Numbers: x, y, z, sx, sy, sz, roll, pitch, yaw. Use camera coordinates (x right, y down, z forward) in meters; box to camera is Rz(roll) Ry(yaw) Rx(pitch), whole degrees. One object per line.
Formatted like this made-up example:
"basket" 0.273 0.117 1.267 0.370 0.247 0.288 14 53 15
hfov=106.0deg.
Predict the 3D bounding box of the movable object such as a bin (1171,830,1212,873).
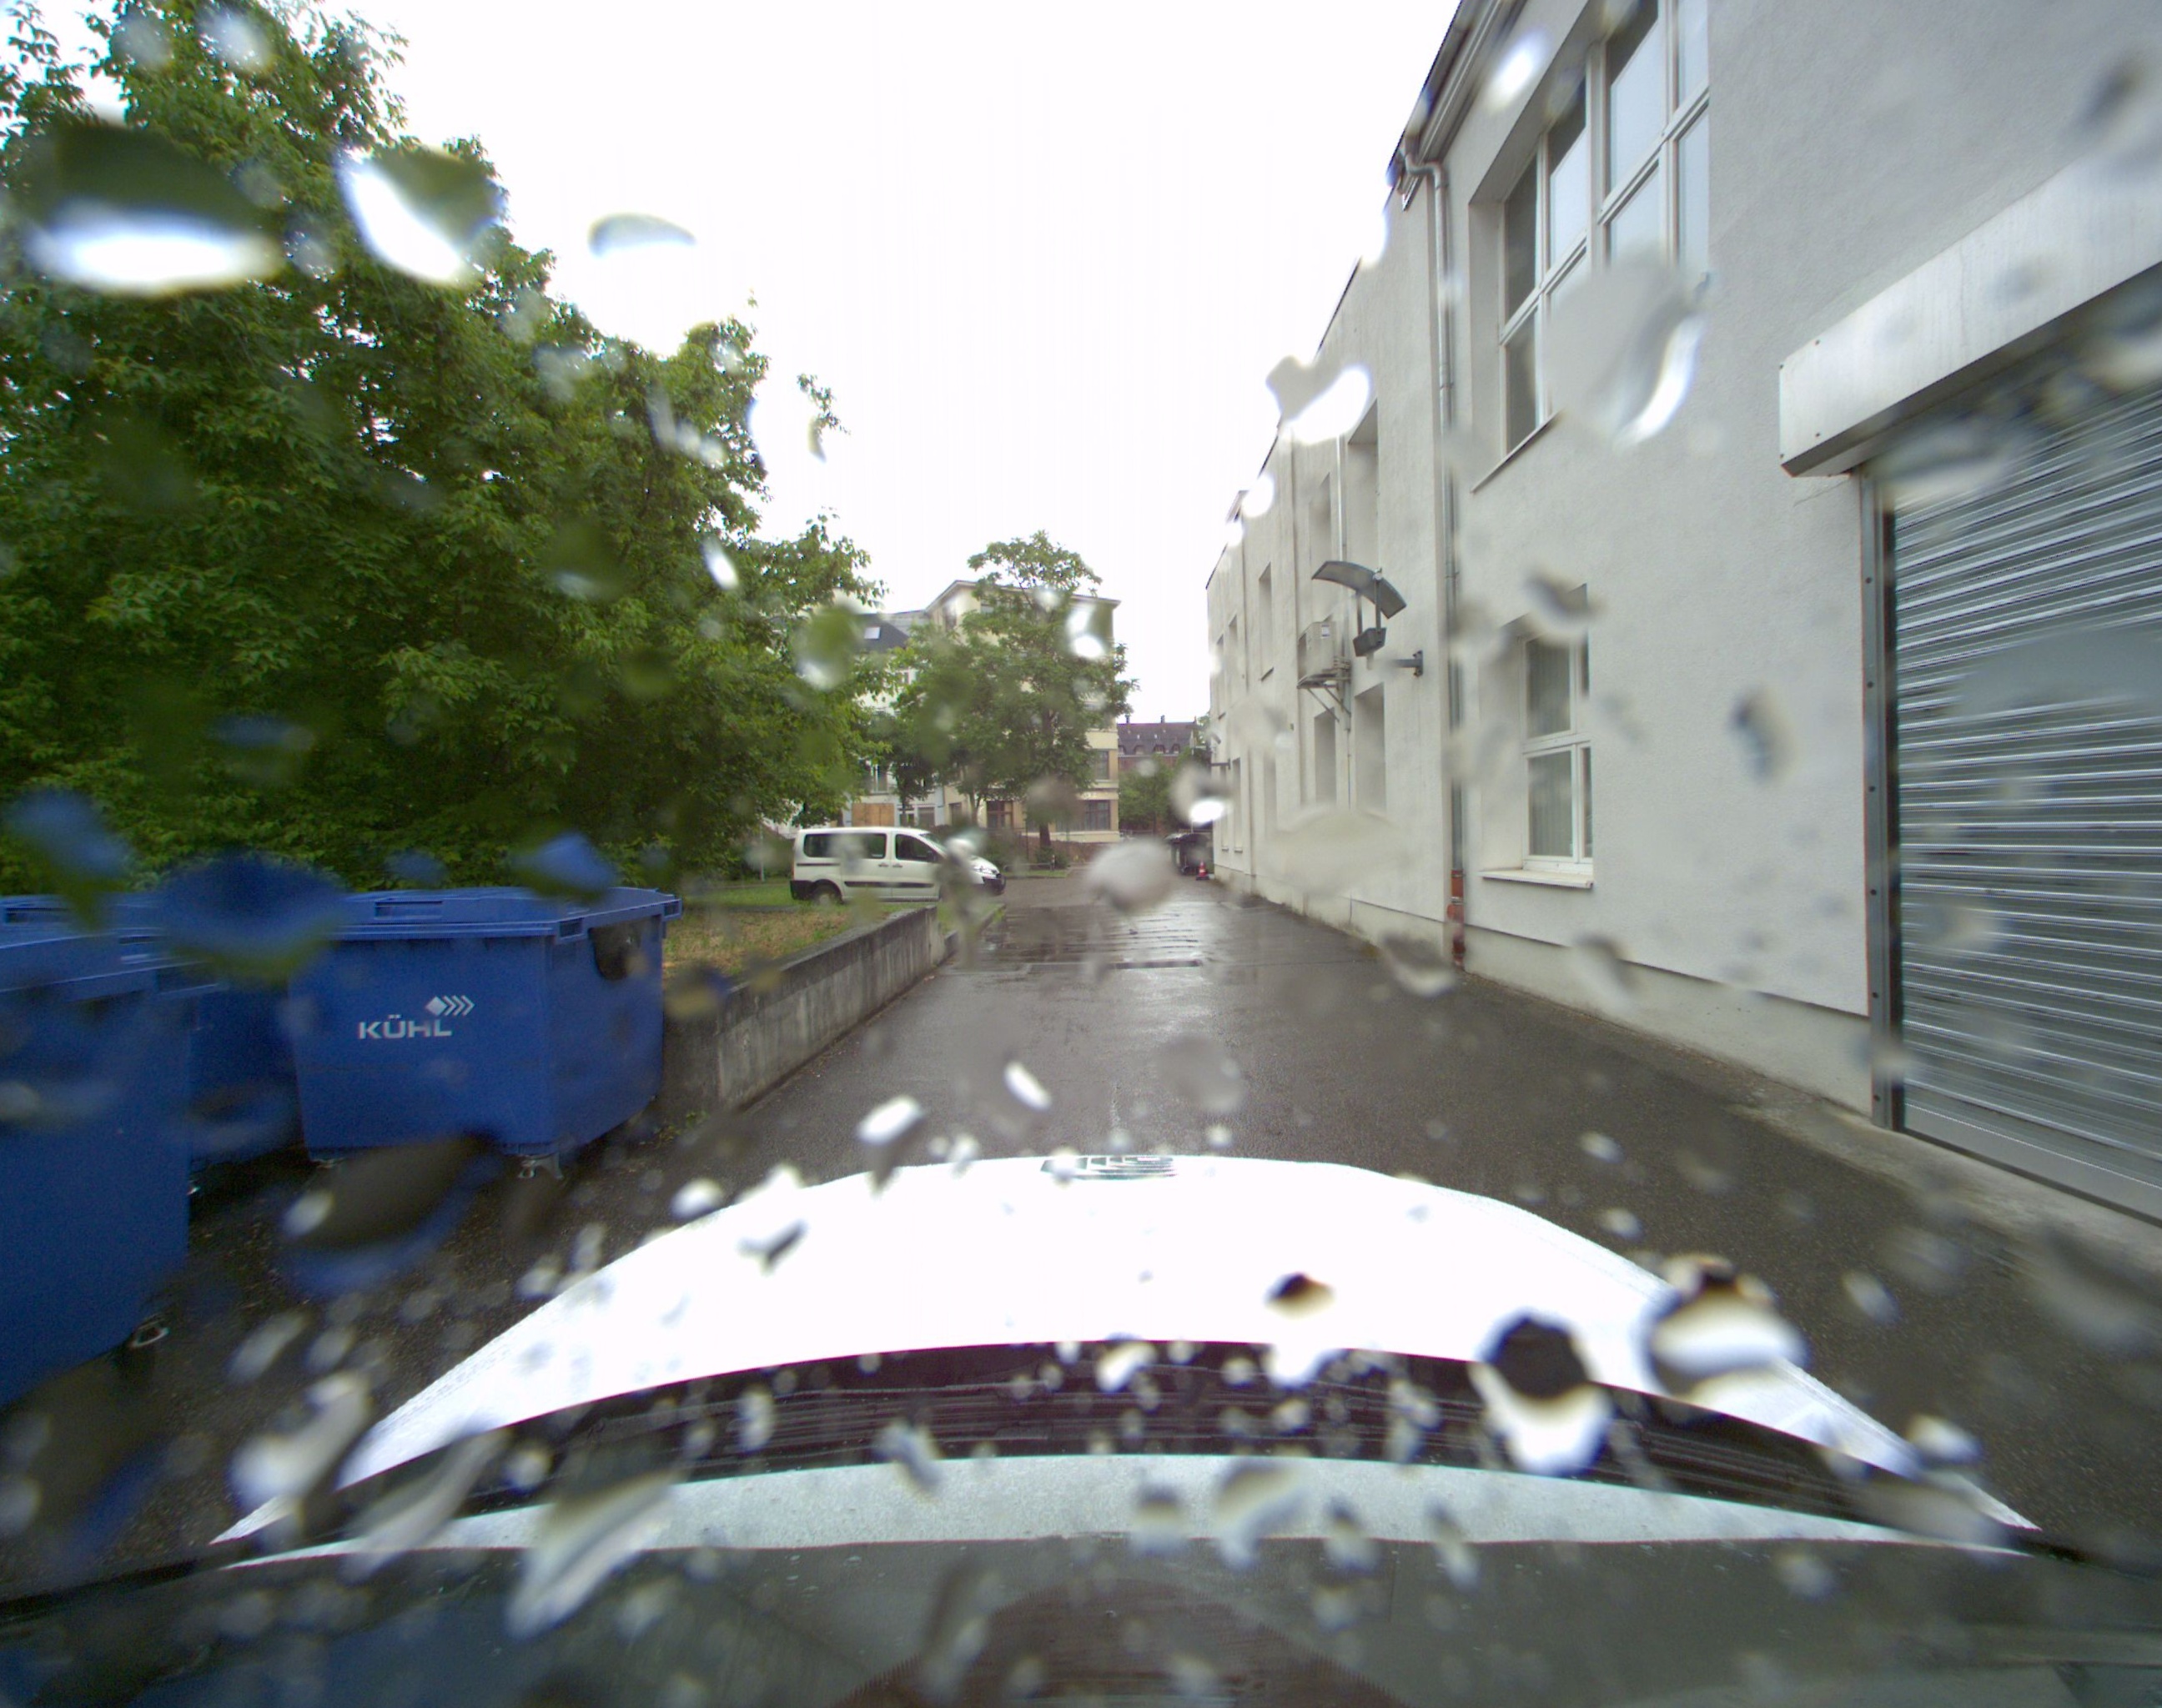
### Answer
"movable object such as a bin" 3.841 -0.063 28.408 1.211 1.437 1.235 -1 -1 -1

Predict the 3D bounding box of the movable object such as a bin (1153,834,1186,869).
"movable object such as a bin" 3.739 -0.090 34.489 1.211 1.437 1.258 -1 -1 -1

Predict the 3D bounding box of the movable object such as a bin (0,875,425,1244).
"movable object such as a bin" -3.977 0.814 3.623 1.217 1.337 1.007 -2 2 1

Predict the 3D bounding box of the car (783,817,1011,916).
"car" -4.199 0.244 19.150 4.762 2.013 2.001 -2 2 1

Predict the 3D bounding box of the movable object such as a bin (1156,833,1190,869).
"movable object such as a bin" 3.738 -0.112 33.110 1.211 1.437 1.258 -1 -1 -1

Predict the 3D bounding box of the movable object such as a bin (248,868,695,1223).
"movable object such as a bin" -2.653 0.773 3.732 1.217 1.337 1.007 -2 2 1

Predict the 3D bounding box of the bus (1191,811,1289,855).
"bus" 16.013 -1.989 83.263 2.823 3.873 11.944 -1 -1 -28

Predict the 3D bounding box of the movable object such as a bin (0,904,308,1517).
"movable object such as a bin" -3.055 0.850 1.998 1.197 1.337 1.118 -2 1 5

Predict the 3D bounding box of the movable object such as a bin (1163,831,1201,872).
"movable object such as a bin" 3.709 -0.084 30.053 1.211 1.437 1.293 -1 -1 -1

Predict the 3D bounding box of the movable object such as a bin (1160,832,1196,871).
"movable object such as a bin" 3.778 -0.100 31.733 1.211 1.468 1.235 -1 -1 -1
